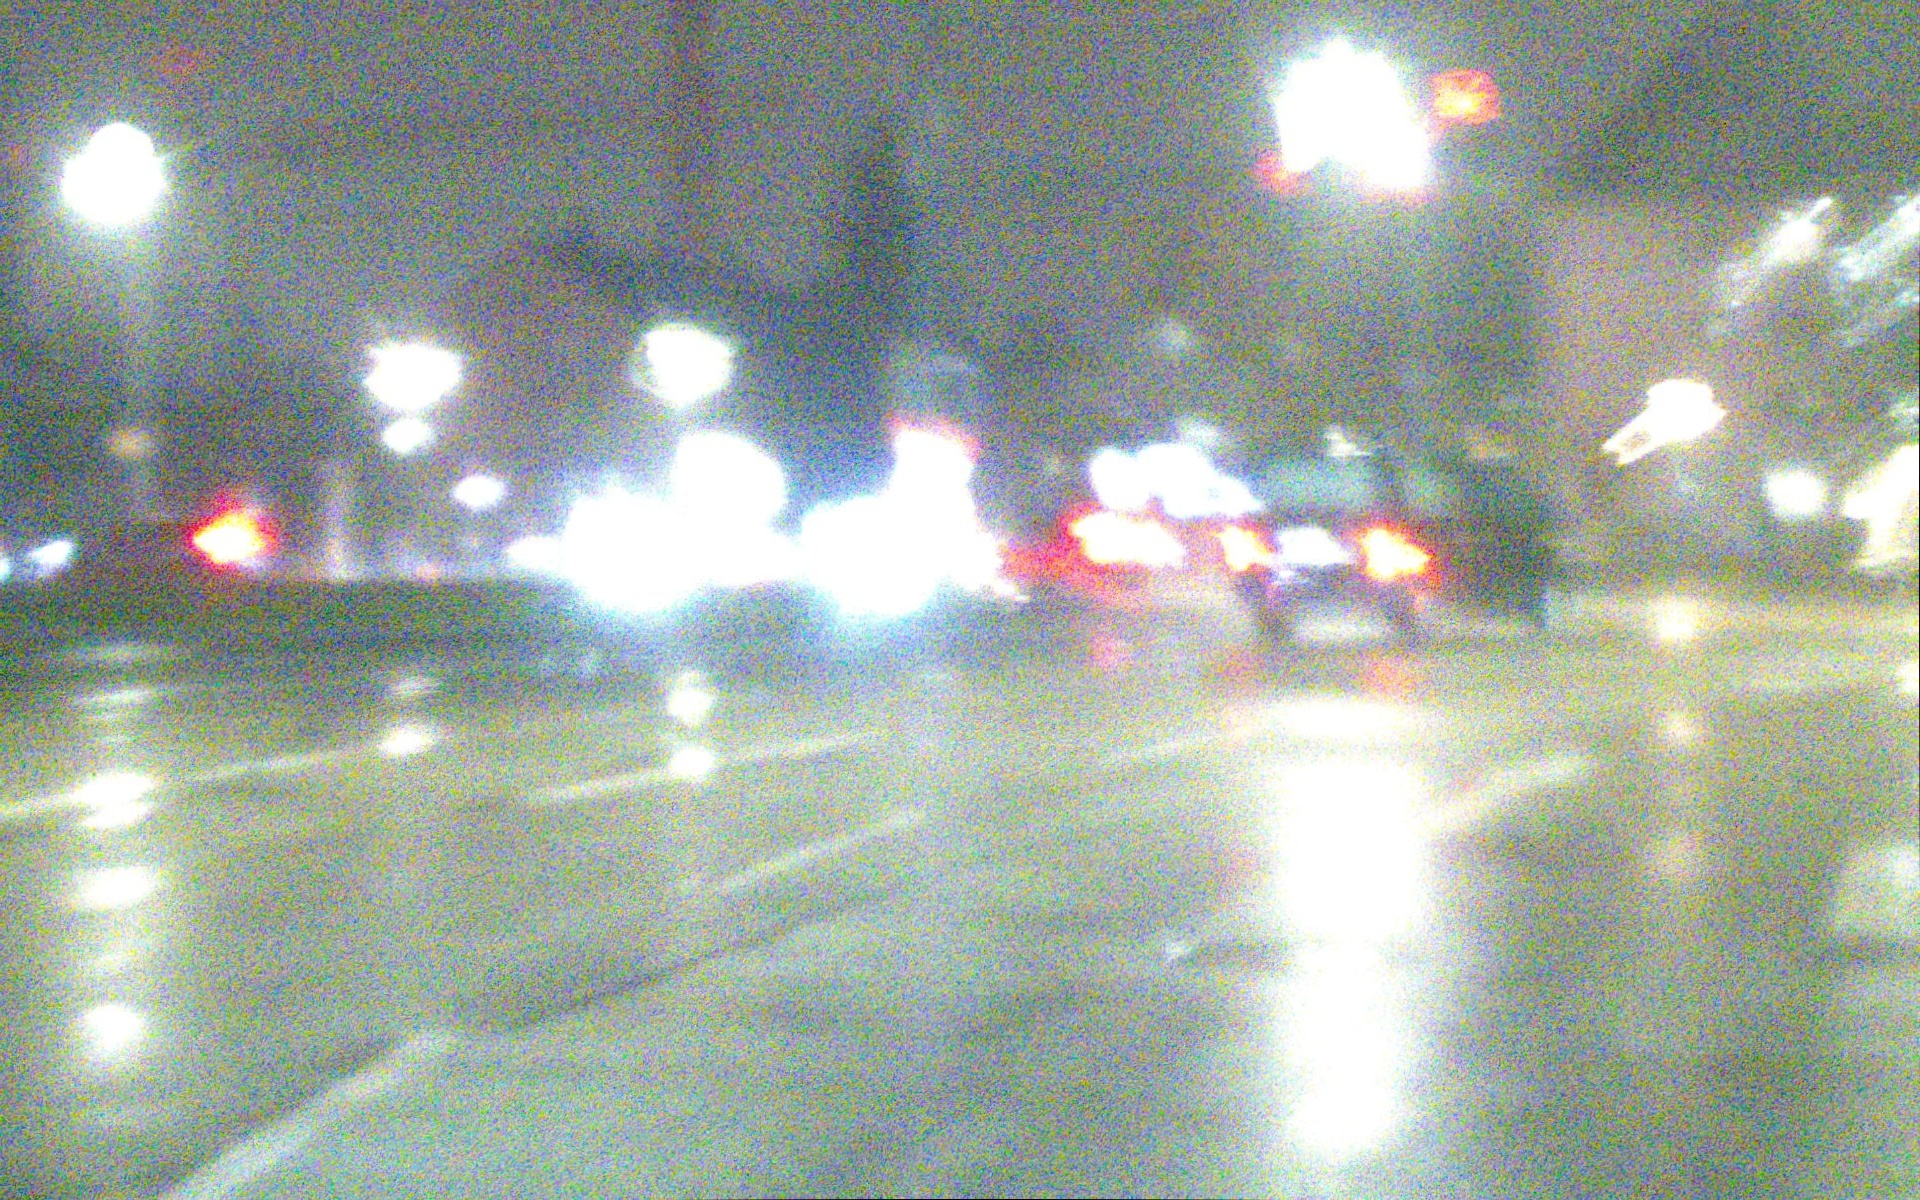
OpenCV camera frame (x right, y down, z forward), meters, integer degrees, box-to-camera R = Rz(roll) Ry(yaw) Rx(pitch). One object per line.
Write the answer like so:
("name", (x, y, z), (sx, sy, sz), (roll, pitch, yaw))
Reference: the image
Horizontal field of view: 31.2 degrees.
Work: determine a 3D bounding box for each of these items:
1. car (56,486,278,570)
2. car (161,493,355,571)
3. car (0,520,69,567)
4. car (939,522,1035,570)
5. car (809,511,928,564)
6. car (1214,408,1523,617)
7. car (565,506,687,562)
("car", (-16.090, -1.473, 69.823), (3.990, 1.610, 1.835), (1, 1, 15))
("car", (-14.873, -1.442, 72.853), (3.619, 1.573, 1.736), (1, 1, 15))
("car", (-21.901, -1.283, 77.133), (3.616, 1.028, 1.476), (1, 1, -11))
("car", (1.019, -2.040, 129.107), (1.874, 1.752, 4.388), (2, 2, 26))
("car", (-3.105, -2.142, 117.542), (1.997, 1.730, 4.613), (2, 2, 28))
("car", (4.302, -0.904, 35.558), (1.996, 2.007, 4.552), (1, 1, 22))
("car", (-10.061, -1.998, 103.802), (1.860, 1.634, 3.885), (2, 2, 27))
